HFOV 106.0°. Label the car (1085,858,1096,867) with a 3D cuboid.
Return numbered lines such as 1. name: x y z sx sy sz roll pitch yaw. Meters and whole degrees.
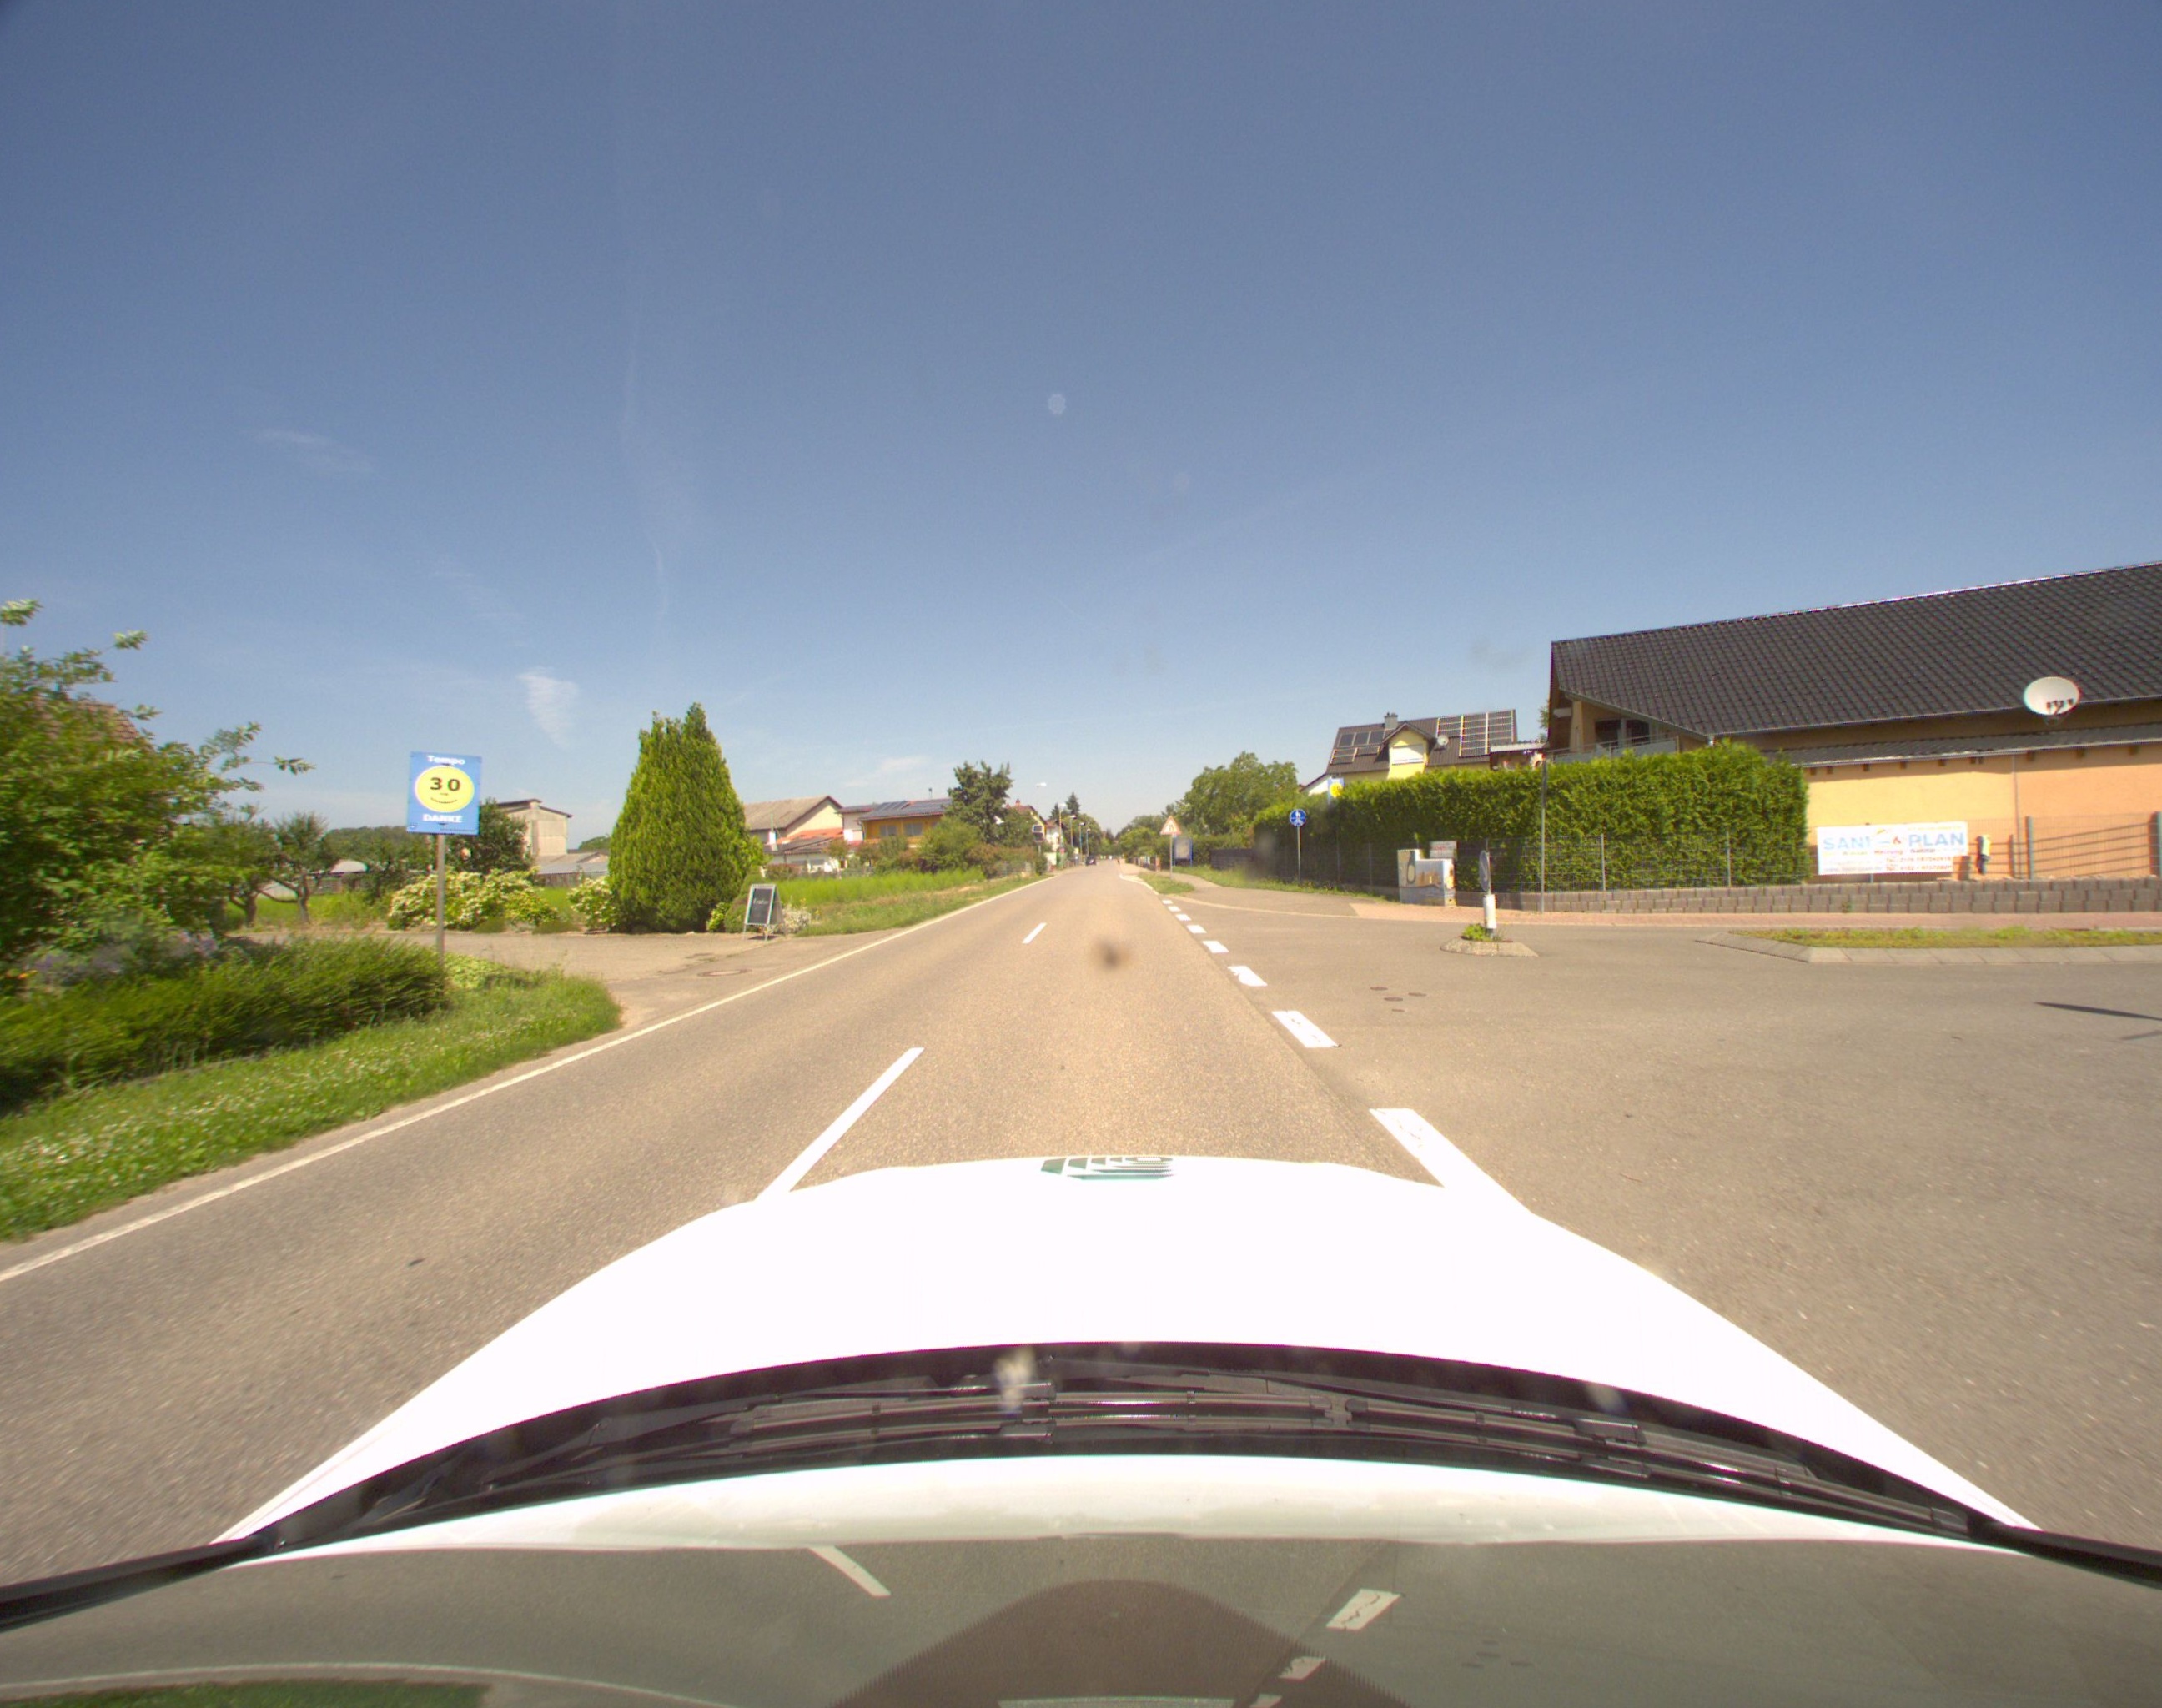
1. car: 1.752 1.555 147.402 1.752 1.385 3.454 -3 0 2
